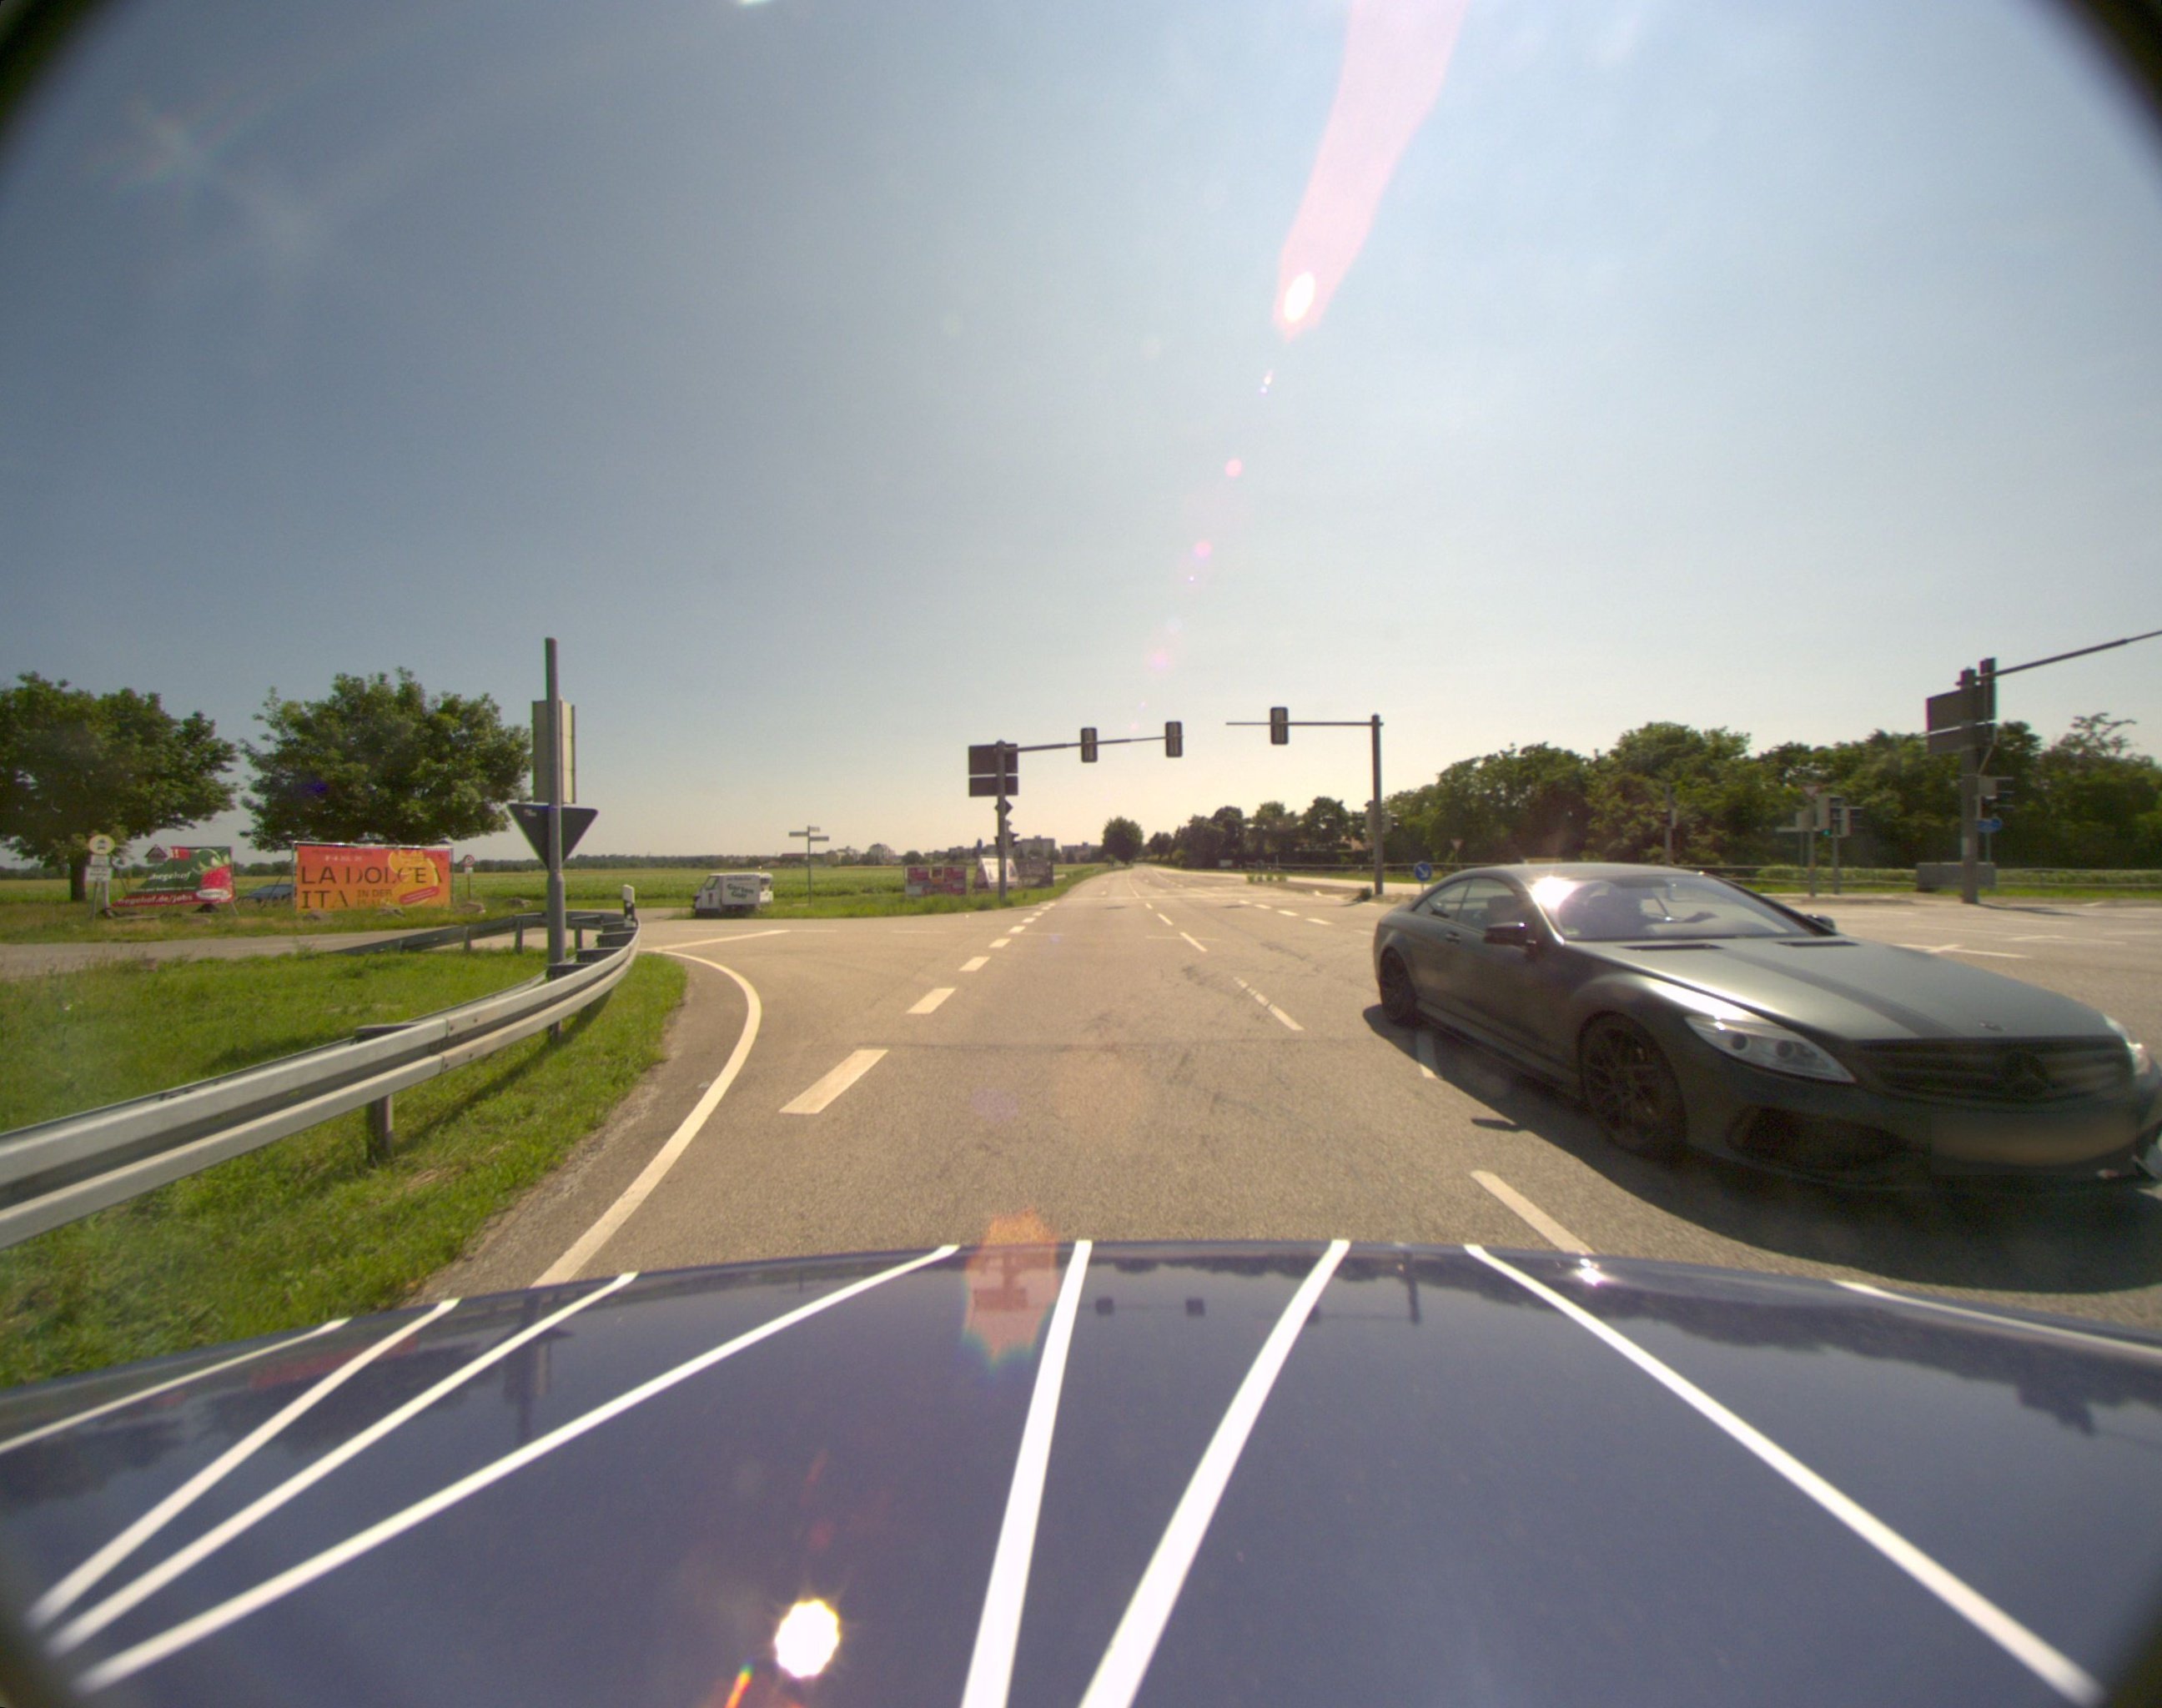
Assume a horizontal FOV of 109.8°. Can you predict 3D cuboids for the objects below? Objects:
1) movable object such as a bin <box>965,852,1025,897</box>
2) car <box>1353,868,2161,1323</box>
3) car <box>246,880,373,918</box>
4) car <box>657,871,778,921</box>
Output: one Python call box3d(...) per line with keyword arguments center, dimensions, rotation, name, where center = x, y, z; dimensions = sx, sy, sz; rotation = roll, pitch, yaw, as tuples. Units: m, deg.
box3d(center=(-4.986, 1.145, 44.497), dimensions=(1.523, 2.349, 4.430), rotation=(-3, 0, 21), name="movable object such as a bin")
box3d(center=(3.569, 0.880, 5.047), dimensions=(1.815, 1.441, 4.877), rotation=(-2, 0, 1), name="car")
box3d(center=(-35.951, 2.053, 35.562), dimensions=(1.760, 1.518, 3.885), rotation=(-1, 0, 7), name="car")
box3d(center=(-12.192, 1.393, 25.629), dimensions=(3.345, 1.491, 1.400), rotation=(-2, 0, -4), name="car")
